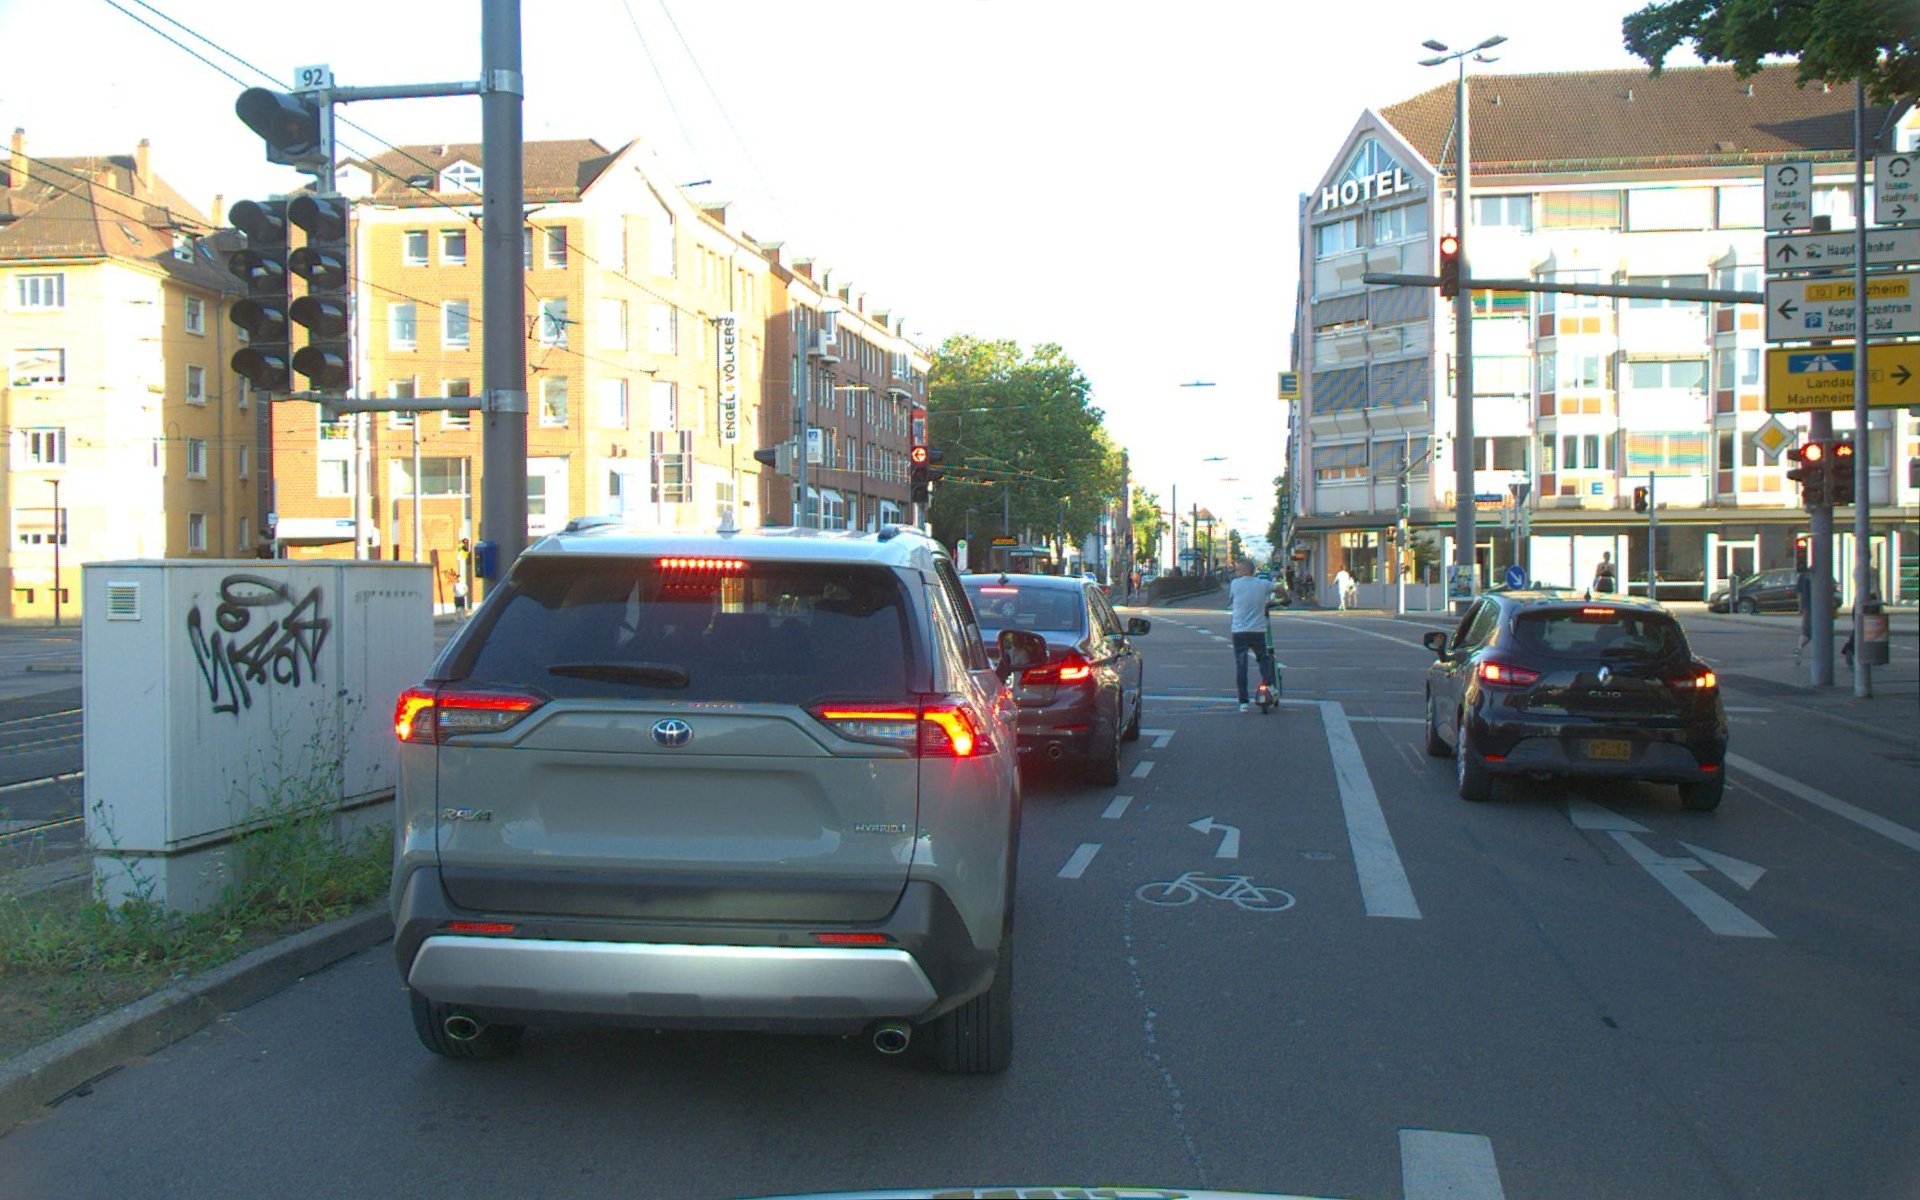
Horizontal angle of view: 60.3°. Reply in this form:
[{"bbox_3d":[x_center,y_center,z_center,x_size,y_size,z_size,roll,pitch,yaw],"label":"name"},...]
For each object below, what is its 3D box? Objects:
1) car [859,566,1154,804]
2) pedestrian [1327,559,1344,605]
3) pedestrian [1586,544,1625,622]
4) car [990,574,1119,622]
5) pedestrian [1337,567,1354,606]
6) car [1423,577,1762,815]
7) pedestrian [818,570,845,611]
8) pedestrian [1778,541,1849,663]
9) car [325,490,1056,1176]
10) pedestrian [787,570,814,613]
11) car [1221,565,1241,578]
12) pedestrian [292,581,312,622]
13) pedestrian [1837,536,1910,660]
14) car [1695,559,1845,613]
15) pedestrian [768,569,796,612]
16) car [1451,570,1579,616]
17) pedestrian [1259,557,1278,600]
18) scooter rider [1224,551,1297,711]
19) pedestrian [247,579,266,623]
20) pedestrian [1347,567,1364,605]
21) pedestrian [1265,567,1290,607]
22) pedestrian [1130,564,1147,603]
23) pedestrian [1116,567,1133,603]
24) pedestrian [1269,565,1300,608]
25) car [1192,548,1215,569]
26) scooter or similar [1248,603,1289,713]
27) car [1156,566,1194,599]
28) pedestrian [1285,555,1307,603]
[{"bbox_3d":[0.546,0.508,13.052,1.707,1.486,4.414,1,2,9],"label":"car"},{"bbox_3d":[15.039,-0.718,66.289,0.487,1.805,0.471,-1,1,-27],"label":"pedestrian"},{"bbox_3d":[15.295,-0.410,39.209,0.730,1.809,0.801,1,1,13],"label":"pedestrian"},{"bbox_3d":[3.402,-0.090,59.025,4.455,1.648,2.000,1,1,8],"label":"car"},{"bbox_3d":[15.501,-0.540,66.538,0.487,1.529,0.471,-1,1,-27],"label":"pedestrian"},{"bbox_3d":[4.615,0.582,12.647,1.726,1.465,4.004,1,1,11],"label":"car"},{"bbox_3d":[-6.481,-0.471,83.609,1.070,2.049,1.164,1,1,8],"label":"pedestrian"},{"bbox_3d":[13.408,0.024,25.983,0.716,1.862,0.991,2,1,42],"label":"pedestrian"},{"bbox_3d":[-0.602,0.507,6.121,1.797,1.664,4.092,1,2,2],"label":"car"},{"bbox_3d":[-7.743,-0.401,80.474,1.070,2.049,0.909,1,1,8],"label":"pedestrian"},{"bbox_3d":[27.638,-2.935,168.862,1.951,1.333,4.004,0,1,9],"label":"car"},{"bbox_3d":[-27.361,0.059,68.777,0.539,1.671,0.501,1,1,9],"label":"pedestrian"},{"bbox_3d":[14.036,-0.039,25.406,0.716,1.862,0.991,2,1,44],"label":"pedestrian"},{"bbox_3d":[27.523,-0.482,56.288,4.144,1.725,2.002,1,1,9],"label":"car"},{"bbox_3d":[-8.489,-0.452,78.839,1.070,2.049,0.909,1,1,8],"label":"pedestrian"},{"bbox_3d":[19.188,-0.258,57.328,3.902,1.502,2.002,1,1,9],"label":"car"},{"bbox_3d":[16.304,-1.125,87.377,0.912,2.234,0.853,1,1,8],"label":"pedestrian"},{"bbox_3d":[3.245,0.321,17.849,0.648,1.675,0.661,1,1,19],"label":"scooter rider"},{"bbox_3d":[-28.793,0.052,67.725,0.656,1.773,0.686,1,0,-21],"label":"pedestrian"},{"bbox_3d":[15.973,-0.553,66.799,0.487,1.529,0.471,-1,1,-27],"label":"pedestrian"},{"bbox_3d":[13.353,-0.547,69.632,0.712,1.652,0.765,-1,1,-27],"label":"pedestrian"},{"bbox_3d":[8.573,-0.798,79.485,0.686,1.854,0.809,1,1,12],"label":"pedestrian"},{"bbox_3d":[7.950,-0.736,79.937,0.686,1.693,0.809,1,1,12],"label":"pedestrian"},{"bbox_3d":[13.450,-0.559,68.532,0.922,1.756,0.844,1,1,-30],"label":"pedestrian"},{"bbox_3d":[23.364,-3.985,158.605,1.951,1.934,4.004,1,1,12],"label":"car"},{"bbox_3d":[3.321,0.603,17.776,0.273,1.109,1.258,1,1,17],"label":"scooter or similar"},{"bbox_3d":[12.099,-0.974,92.900,1.773,1.777,3.718,1,1,12],"label":"car"},{"bbox_3d":[17.302,-1.079,85.078,1.061,2.406,1.057,1,1,12],"label":"pedestrian"}]
